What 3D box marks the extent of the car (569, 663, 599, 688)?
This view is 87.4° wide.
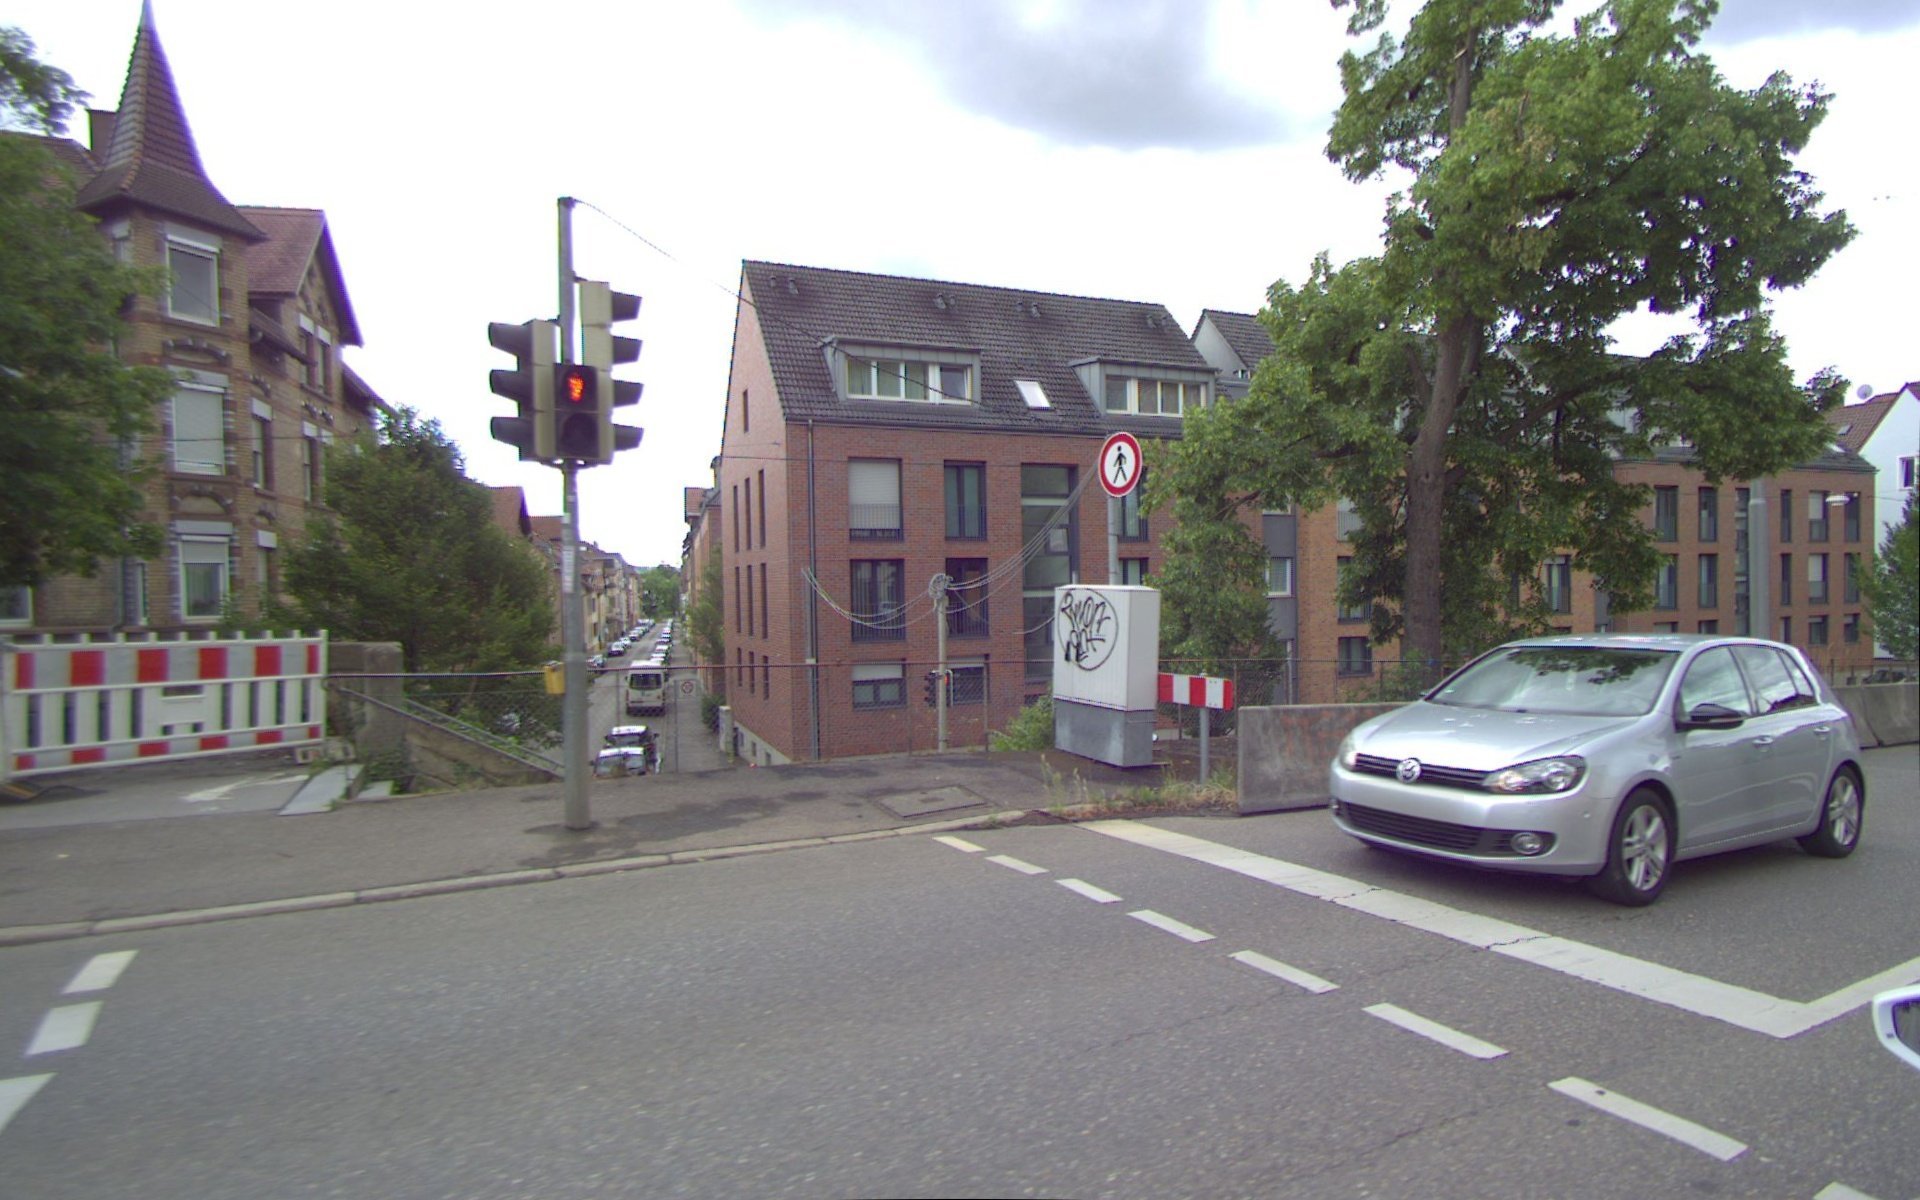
[{"bbox_3d":[-27.508,5.504,73.592,1.771,1.530,3.985,-2,-1,-18],"label":"car"}]

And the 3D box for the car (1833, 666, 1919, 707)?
[{"bbox_3d":[39.733,3.666,43.044,4.153,1.629,1.791,1,-2,-22],"label":"car"}]

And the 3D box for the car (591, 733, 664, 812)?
[{"bbox_3d":[-9.429,4.784,28.323,1.773,1.530,3.982,-2,-1,-20],"label":"car"}]

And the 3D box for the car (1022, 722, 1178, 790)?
[{"bbox_3d":[3.884,4.264,27.823,3.943,1.530,1.791,1,-3,-23],"label":"car"}]

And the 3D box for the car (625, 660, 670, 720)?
[{"bbox_3d":[-16.543,4.671,52.984,2.015,2.732,5.532,-2,-1,-19],"label":"car"}]

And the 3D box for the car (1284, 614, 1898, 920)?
[{"bbox_3d":[4.232,0.890,6.610,4.110,1.463,1.713,2,-3,-30],"label":"car"}]

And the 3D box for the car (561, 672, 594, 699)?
[{"bbox_3d":[-26.174,5.855,68.816,1.771,1.530,3.985,-2,-1,-18],"label":"car"}]

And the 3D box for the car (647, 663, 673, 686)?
[{"bbox_3d":[-24.375,5.986,81.529,1.772,1.599,3.984,-2,-1,-19],"label":"car"}]

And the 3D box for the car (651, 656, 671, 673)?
[{"bbox_3d":[-30.725,6.571,103.232,1.772,1.530,3.984,-2,-1,-19],"label":"car"}]

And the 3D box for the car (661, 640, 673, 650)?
[{"bbox_3d":[-47.737,7.271,163.627,1.772,1.530,3.984,-2,-1,-19],"label":"car"}]

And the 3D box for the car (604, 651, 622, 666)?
[{"bbox_3d":[-40.564,6.831,117.510,1.771,1.530,3.985,-2,-1,-18],"label":"car"}]

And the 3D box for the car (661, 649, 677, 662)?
[{"bbox_3d":[-36.934,7.017,127.527,1.772,1.530,3.984,-2,-1,-19],"label":"car"}]

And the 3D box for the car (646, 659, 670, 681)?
[{"bbox_3d":[-26.248,6.089,87.233,1.772,1.645,3.984,-2,-1,-19],"label":"car"}]

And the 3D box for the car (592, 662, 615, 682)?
[{"bbox_3d":[-32.369,6.489,91.219,1.771,1.530,3.985,-2,-1,-18],"label":"car"}]
